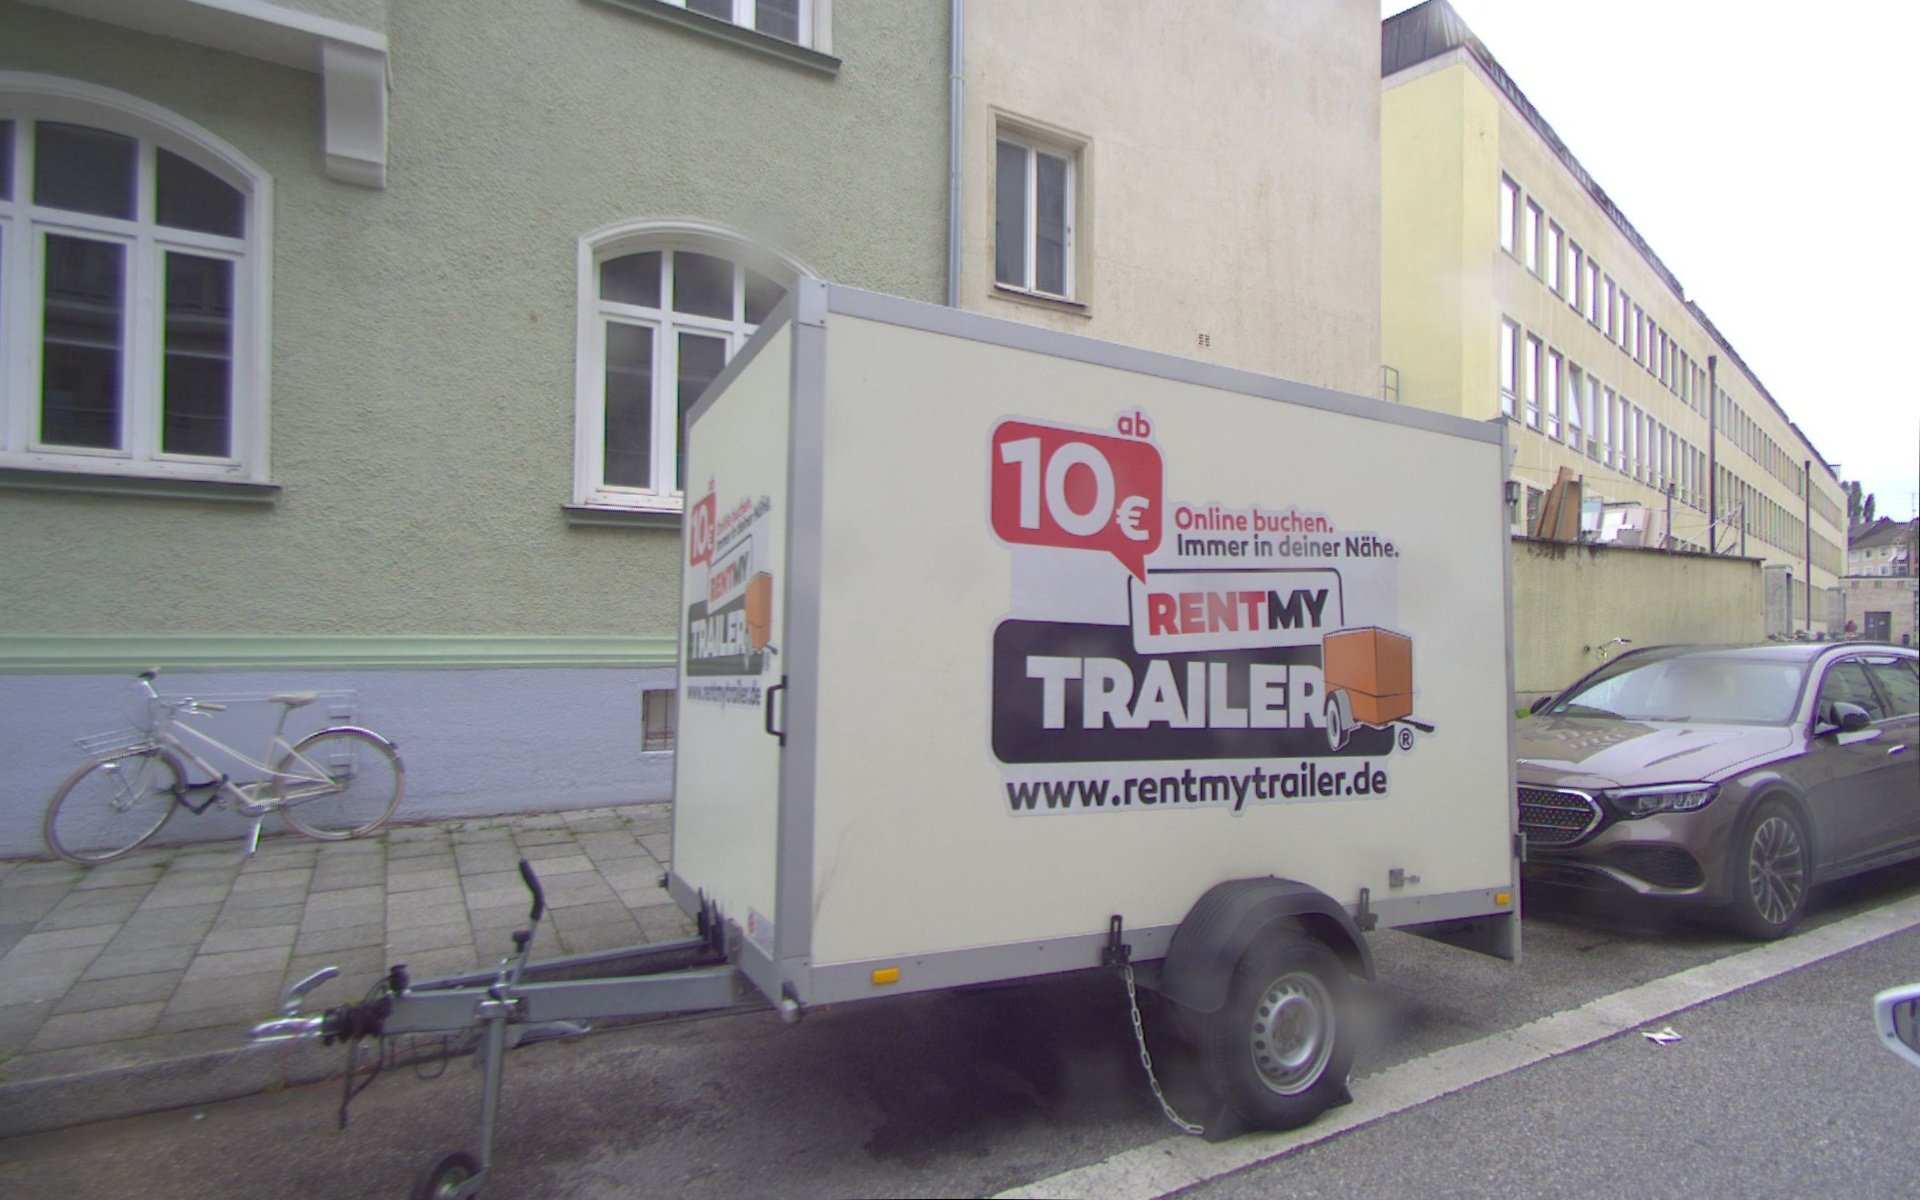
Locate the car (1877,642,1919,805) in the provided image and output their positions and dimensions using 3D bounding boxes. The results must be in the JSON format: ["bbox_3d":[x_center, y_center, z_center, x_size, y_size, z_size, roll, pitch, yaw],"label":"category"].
[{"bbox_3d":[10.698,1.159,9.802,3.783,1.465,1.691,0,0,-33],"label":"car"}]

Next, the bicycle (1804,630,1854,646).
[{"bbox_3d":[50.665,2.228,58.581,2.181,0.907,0.644,-1,-3,42],"label":"bicycle"}]

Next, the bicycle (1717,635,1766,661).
[{"bbox_3d":[30.668,1.886,39.436,1.511,0.967,0.364,0,-1,44],"label":"bicycle"}]

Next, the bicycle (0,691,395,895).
[{"bbox_3d":[-4.338,1.036,5.726,1.909,0.919,0.519,1,2,-34],"label":"bicycle"}]

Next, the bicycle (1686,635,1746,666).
[{"bbox_3d":[24.351,1.619,32.368,1.511,0.967,0.364,0,-1,44],"label":"bicycle"}]

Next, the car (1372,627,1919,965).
[{"bbox_3d":[4.954,1.007,6.511,4.484,1.558,1.760,1,-4,-28],"label":"car"}]

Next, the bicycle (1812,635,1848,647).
[{"bbox_3d":[55.820,2.637,64.476,1.718,0.724,0.611,-1,-3,42],"label":"bicycle"}]

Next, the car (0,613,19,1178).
[{"bbox_3d":[-4.008,0.776,1.203,3.877,1.624,1.679,1,-4,-31],"label":"car"}]

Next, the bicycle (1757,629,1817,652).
[{"bbox_3d":[39.027,1.906,47.424,2.181,1.051,0.492,-1,-3,42],"label":"bicycle"}]

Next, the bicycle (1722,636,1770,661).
[{"bbox_3d":[31.787,1.953,40.633,1.511,0.967,0.364,0,-1,44],"label":"bicycle"}]

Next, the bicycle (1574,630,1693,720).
[{"bbox_3d":[9.567,1.030,14.255,1.755,1.208,0.675,1,0,-29],"label":"bicycle"}]

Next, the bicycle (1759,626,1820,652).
[{"bbox_3d":[40.674,1.909,49.282,2.223,1.184,1.041,0,-1,45],"label":"bicycle"}]

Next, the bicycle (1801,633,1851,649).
[{"bbox_3d":[48.902,2.311,56.734,2.095,0.846,0.644,-1,-3,42],"label":"bicycle"}]

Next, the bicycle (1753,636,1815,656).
[{"bbox_3d":[37.465,2.083,45.683,2.181,0.846,0.492,-1,-3,42],"label":"bicycle"}]

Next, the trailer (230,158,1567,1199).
[{"bbox_3d":[0.093,0.420,3.772,4.331,2.493,1.703,1,-3,-28],"label":"trailer"}]

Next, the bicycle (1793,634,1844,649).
[{"bbox_3d":[48.163,2.325,56.358,2.181,0.846,0.492,-1,-3,42],"label":"bicycle"}]
